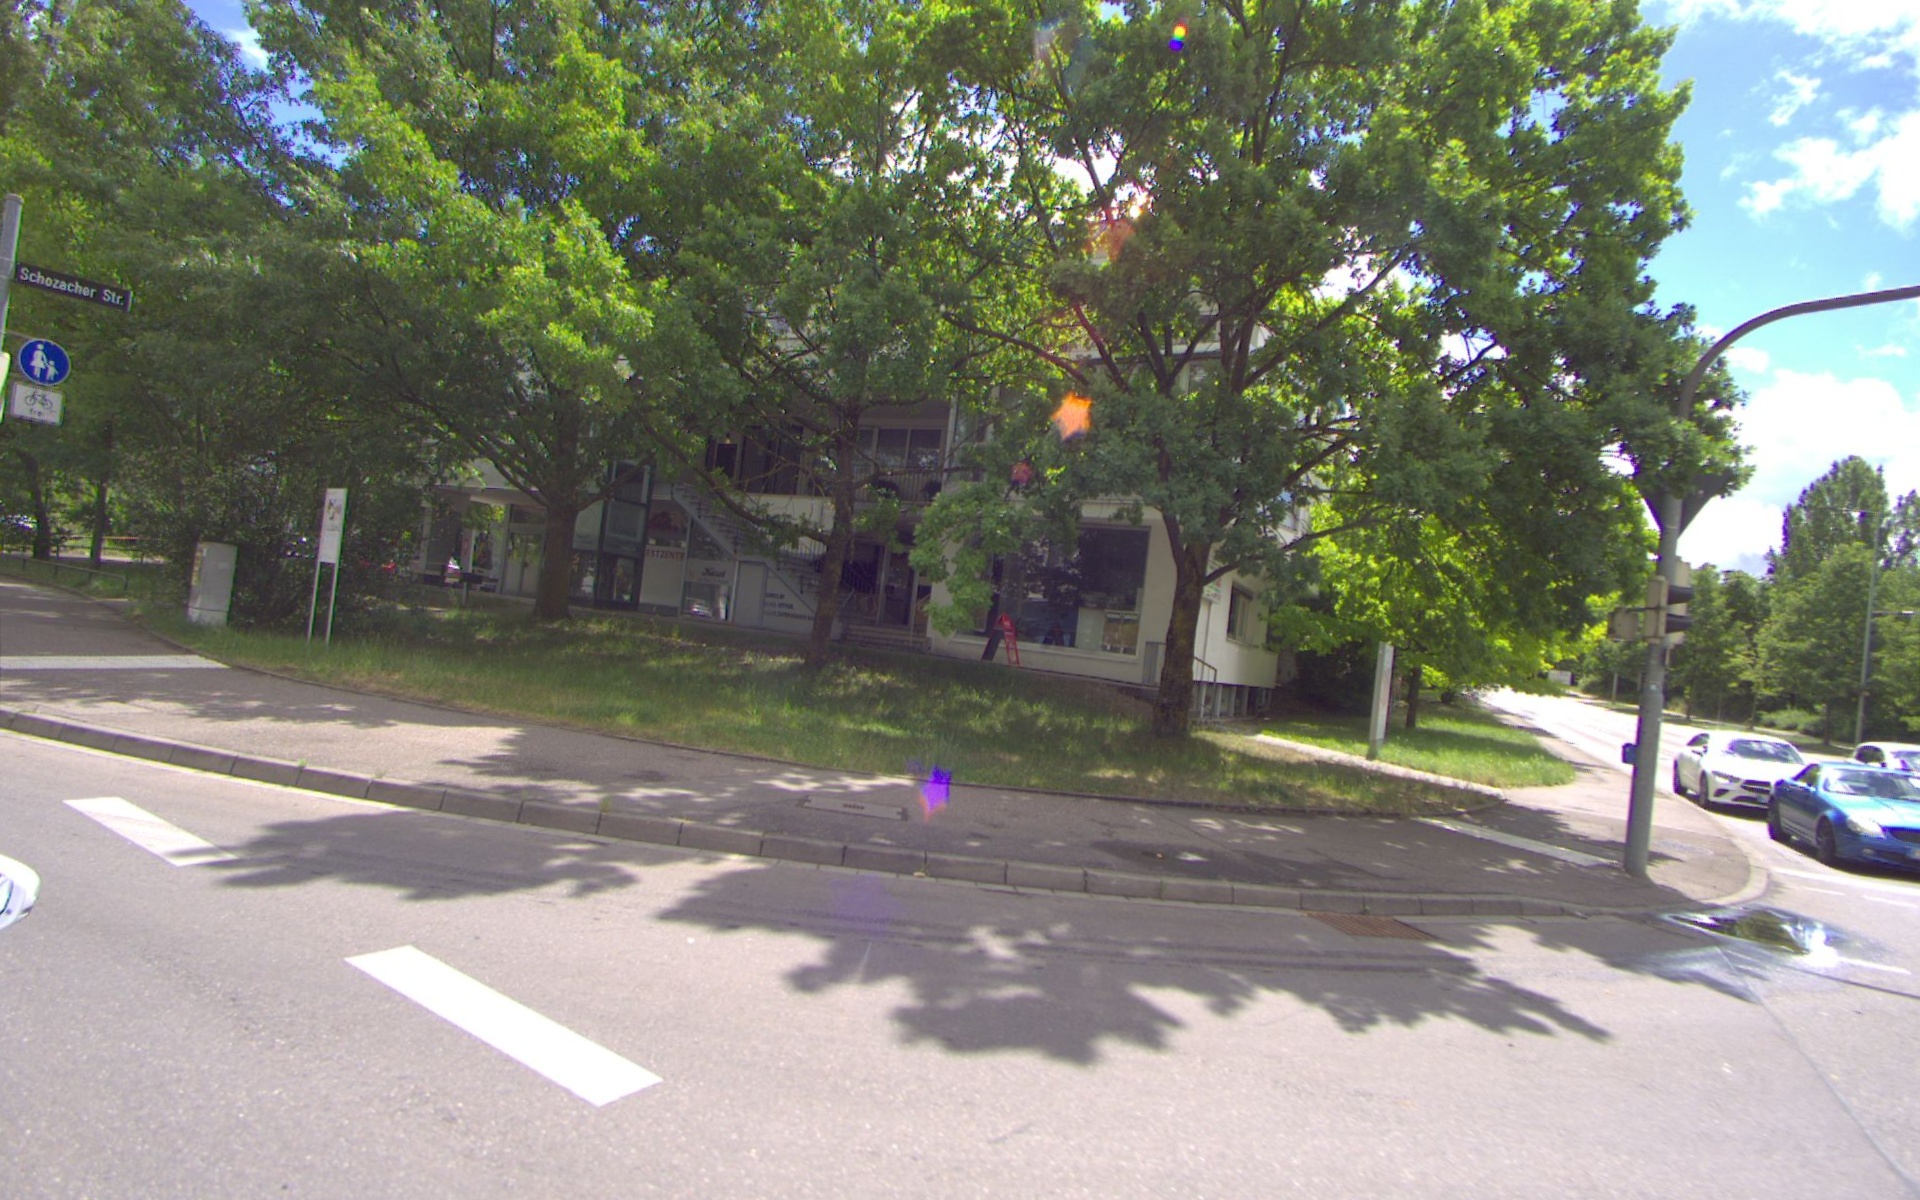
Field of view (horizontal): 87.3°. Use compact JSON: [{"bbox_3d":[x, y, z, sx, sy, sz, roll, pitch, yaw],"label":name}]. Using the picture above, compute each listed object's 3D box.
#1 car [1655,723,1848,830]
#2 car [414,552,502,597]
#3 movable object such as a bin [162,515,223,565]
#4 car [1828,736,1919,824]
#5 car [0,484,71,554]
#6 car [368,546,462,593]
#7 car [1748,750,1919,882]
[{"bbox_3d":[15.150,3.309,19.551,1.917,1.431,4.402,4,-2,25],"label":"car"},{"bbox_3d":[-22.987,-1.171,46.030,3.934,1.547,1.746,7,-1,32],"label":"car"},{"bbox_3d":[-25.761,-1.998,33.776,1.264,1.447,1.117,7,0,30],"label":"movable object such as a bin"},{"bbox_3d":[19.499,3.688,20.558,1.580,1.429,3.896,4,-2,25],"label":"car"},{"bbox_3d":[-28.525,-2.517,28.982,1.776,1.845,4.003,7,-1,10],"label":"car"},{"bbox_3d":[-23.290,-1.328,42.982,3.934,1.488,1.746,7,-1,32],"label":"car"},{"bbox_3d":[12.520,2.913,13.796,1.880,1.239,3.968,4,-2,27],"label":"car"}]
